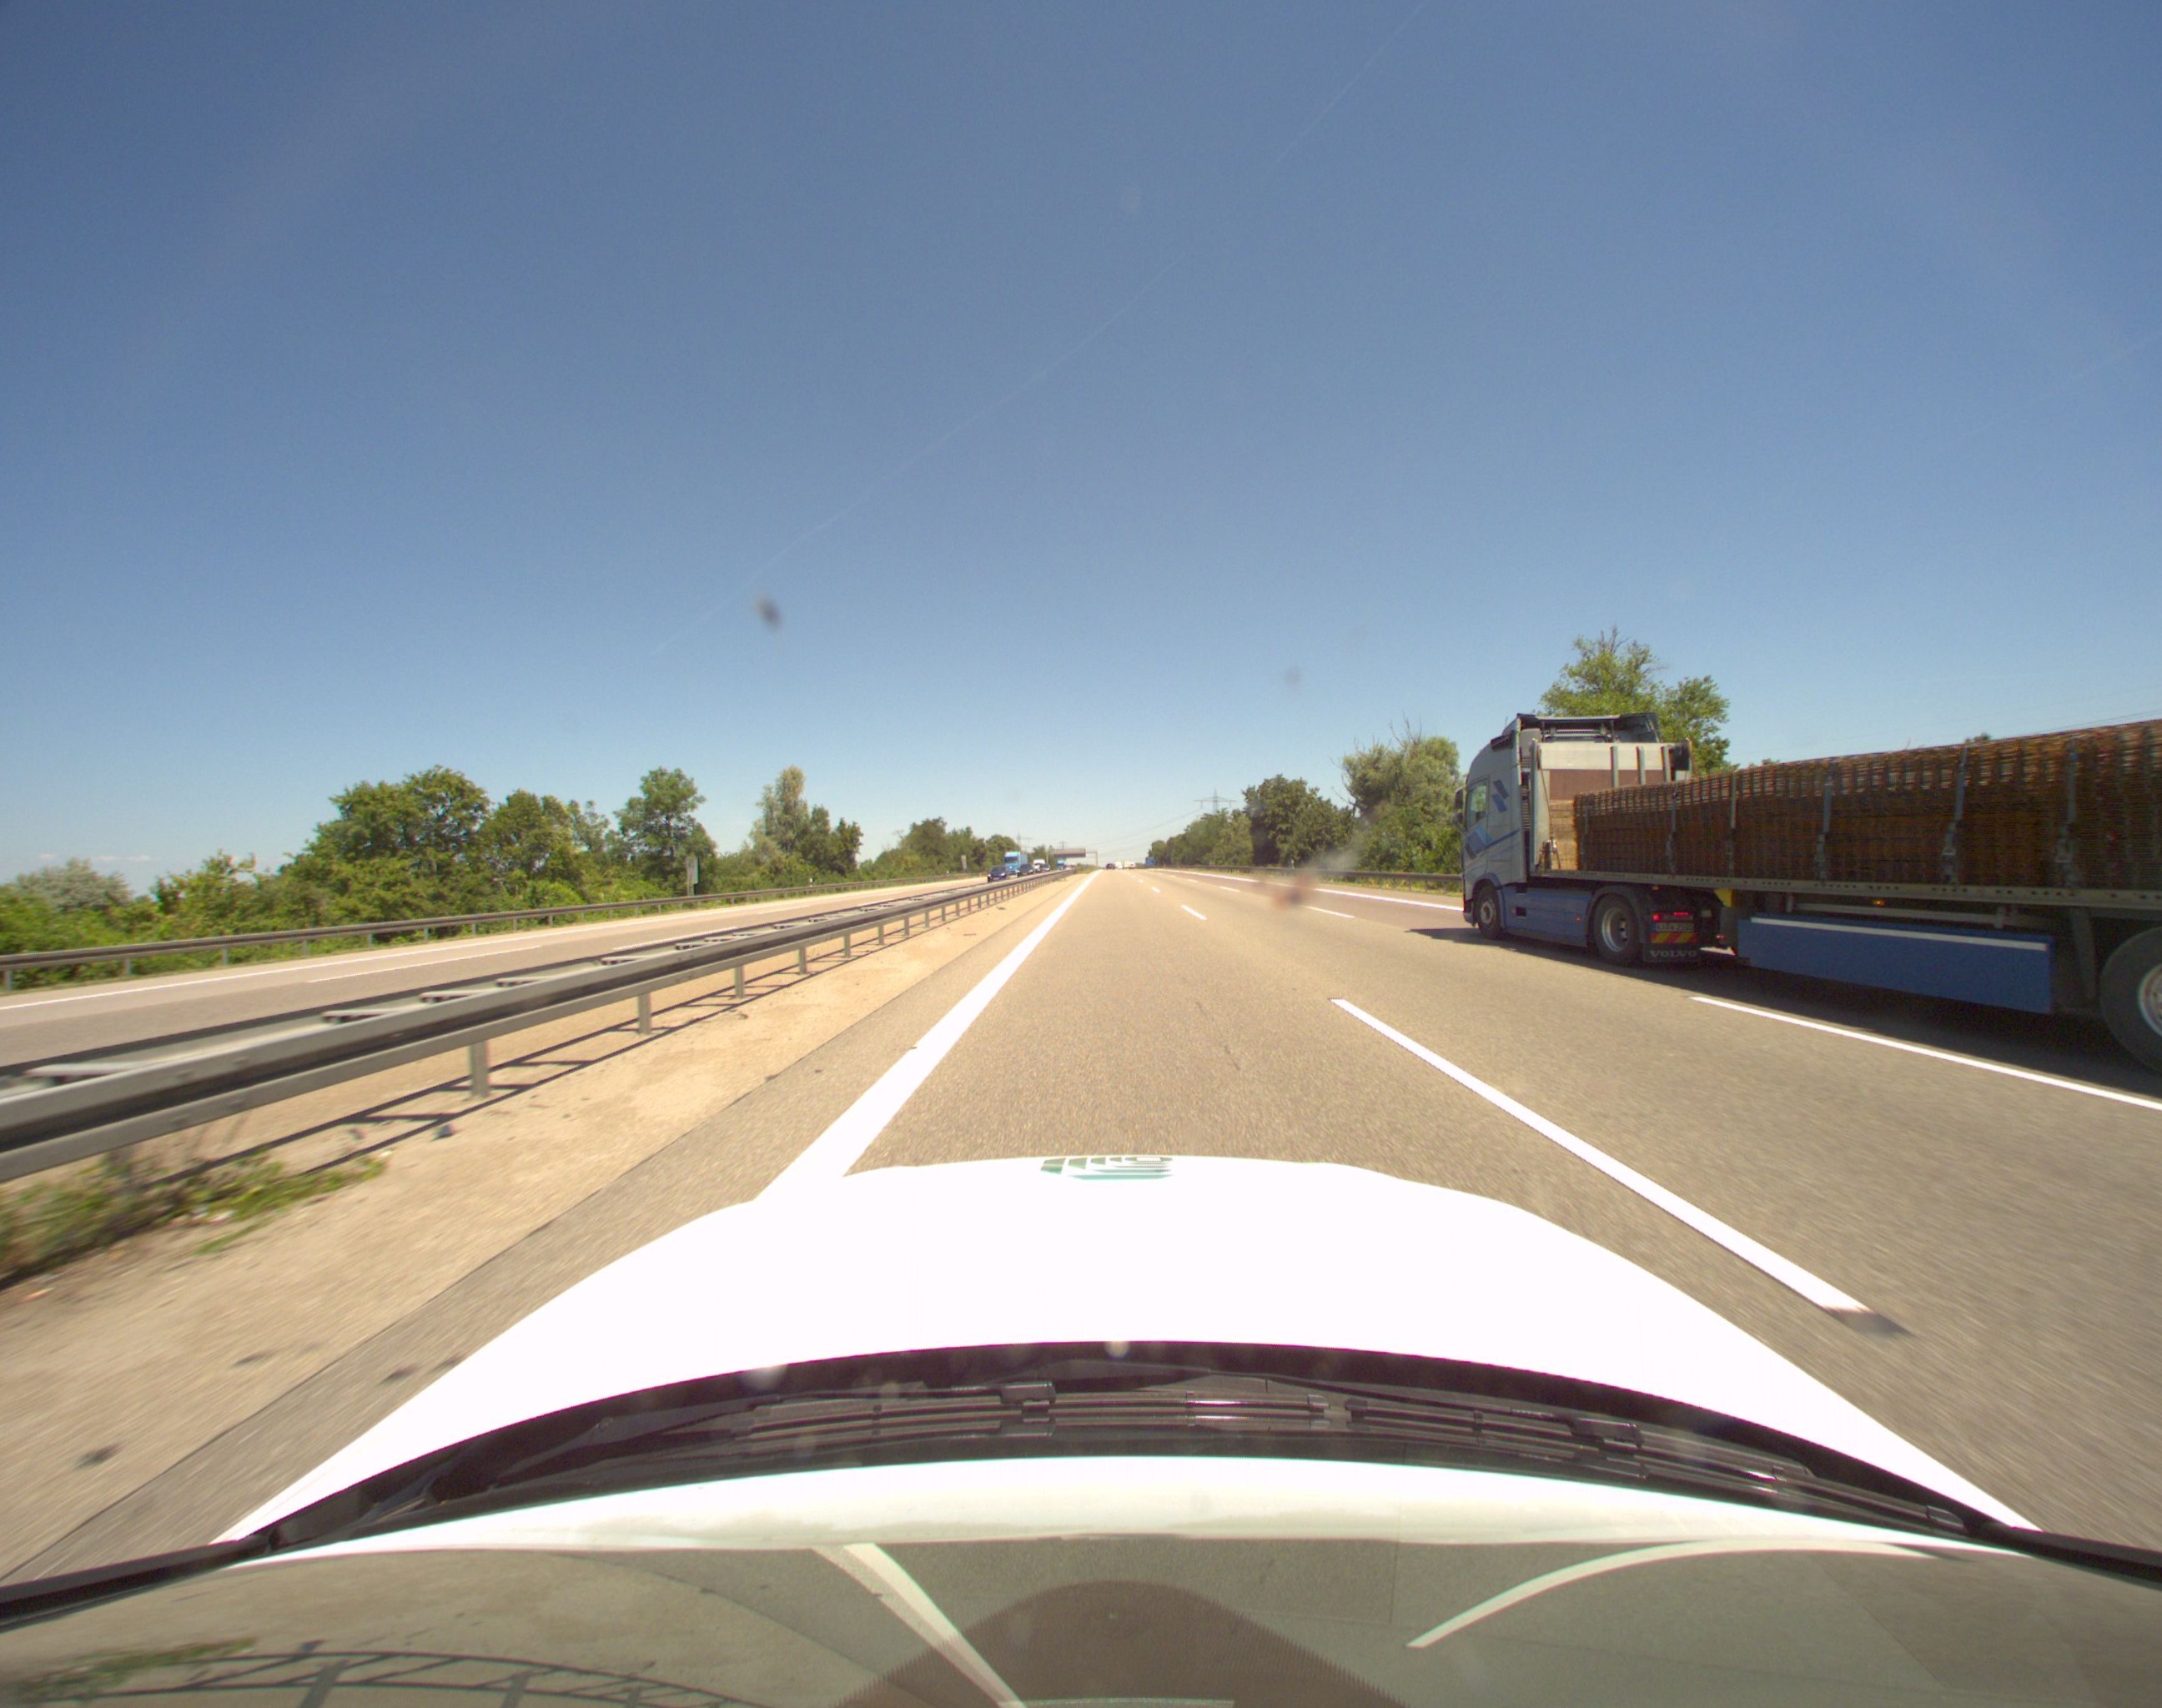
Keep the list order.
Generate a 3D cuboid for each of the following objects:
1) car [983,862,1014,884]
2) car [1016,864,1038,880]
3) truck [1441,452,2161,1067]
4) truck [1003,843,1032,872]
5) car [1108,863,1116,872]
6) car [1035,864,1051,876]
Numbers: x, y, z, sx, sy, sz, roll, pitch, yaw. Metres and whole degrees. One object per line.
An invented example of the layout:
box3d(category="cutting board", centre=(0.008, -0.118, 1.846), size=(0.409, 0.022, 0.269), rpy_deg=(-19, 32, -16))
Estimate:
box3d(category="car", centre=(-7.212, 1.630, 71.412), size=(1.986, 1.604, 4.601), rpy_deg=(-6, -1, 2))
box3d(category="car", centre=(-6.103, 1.988, 92.640), size=(1.986, 1.690, 4.410), rpy_deg=(-2, -1, 2))
box3d(category="truck", centre=(8.511, -0.572, 7.970), size=(2.958, 3.957, 16.616), rpy_deg=(-1, -1, 1))
box3d(category="truck", centre=(-11.611, 0.708, 151.200), size=(3.214, 4.720, 16.863), rpy_deg=(-4, -1, 1))
box3d(category="car", centre=(6.852, 2.950, 181.015), size=(1.784, 2.014, 3.889), rpy_deg=(0, -1, 2))
box3d(category="car", centre=(-5.702, 2.433, 122.213), size=(1.986, 1.690, 4.410), rpy_deg=(-3, -1, 2))
